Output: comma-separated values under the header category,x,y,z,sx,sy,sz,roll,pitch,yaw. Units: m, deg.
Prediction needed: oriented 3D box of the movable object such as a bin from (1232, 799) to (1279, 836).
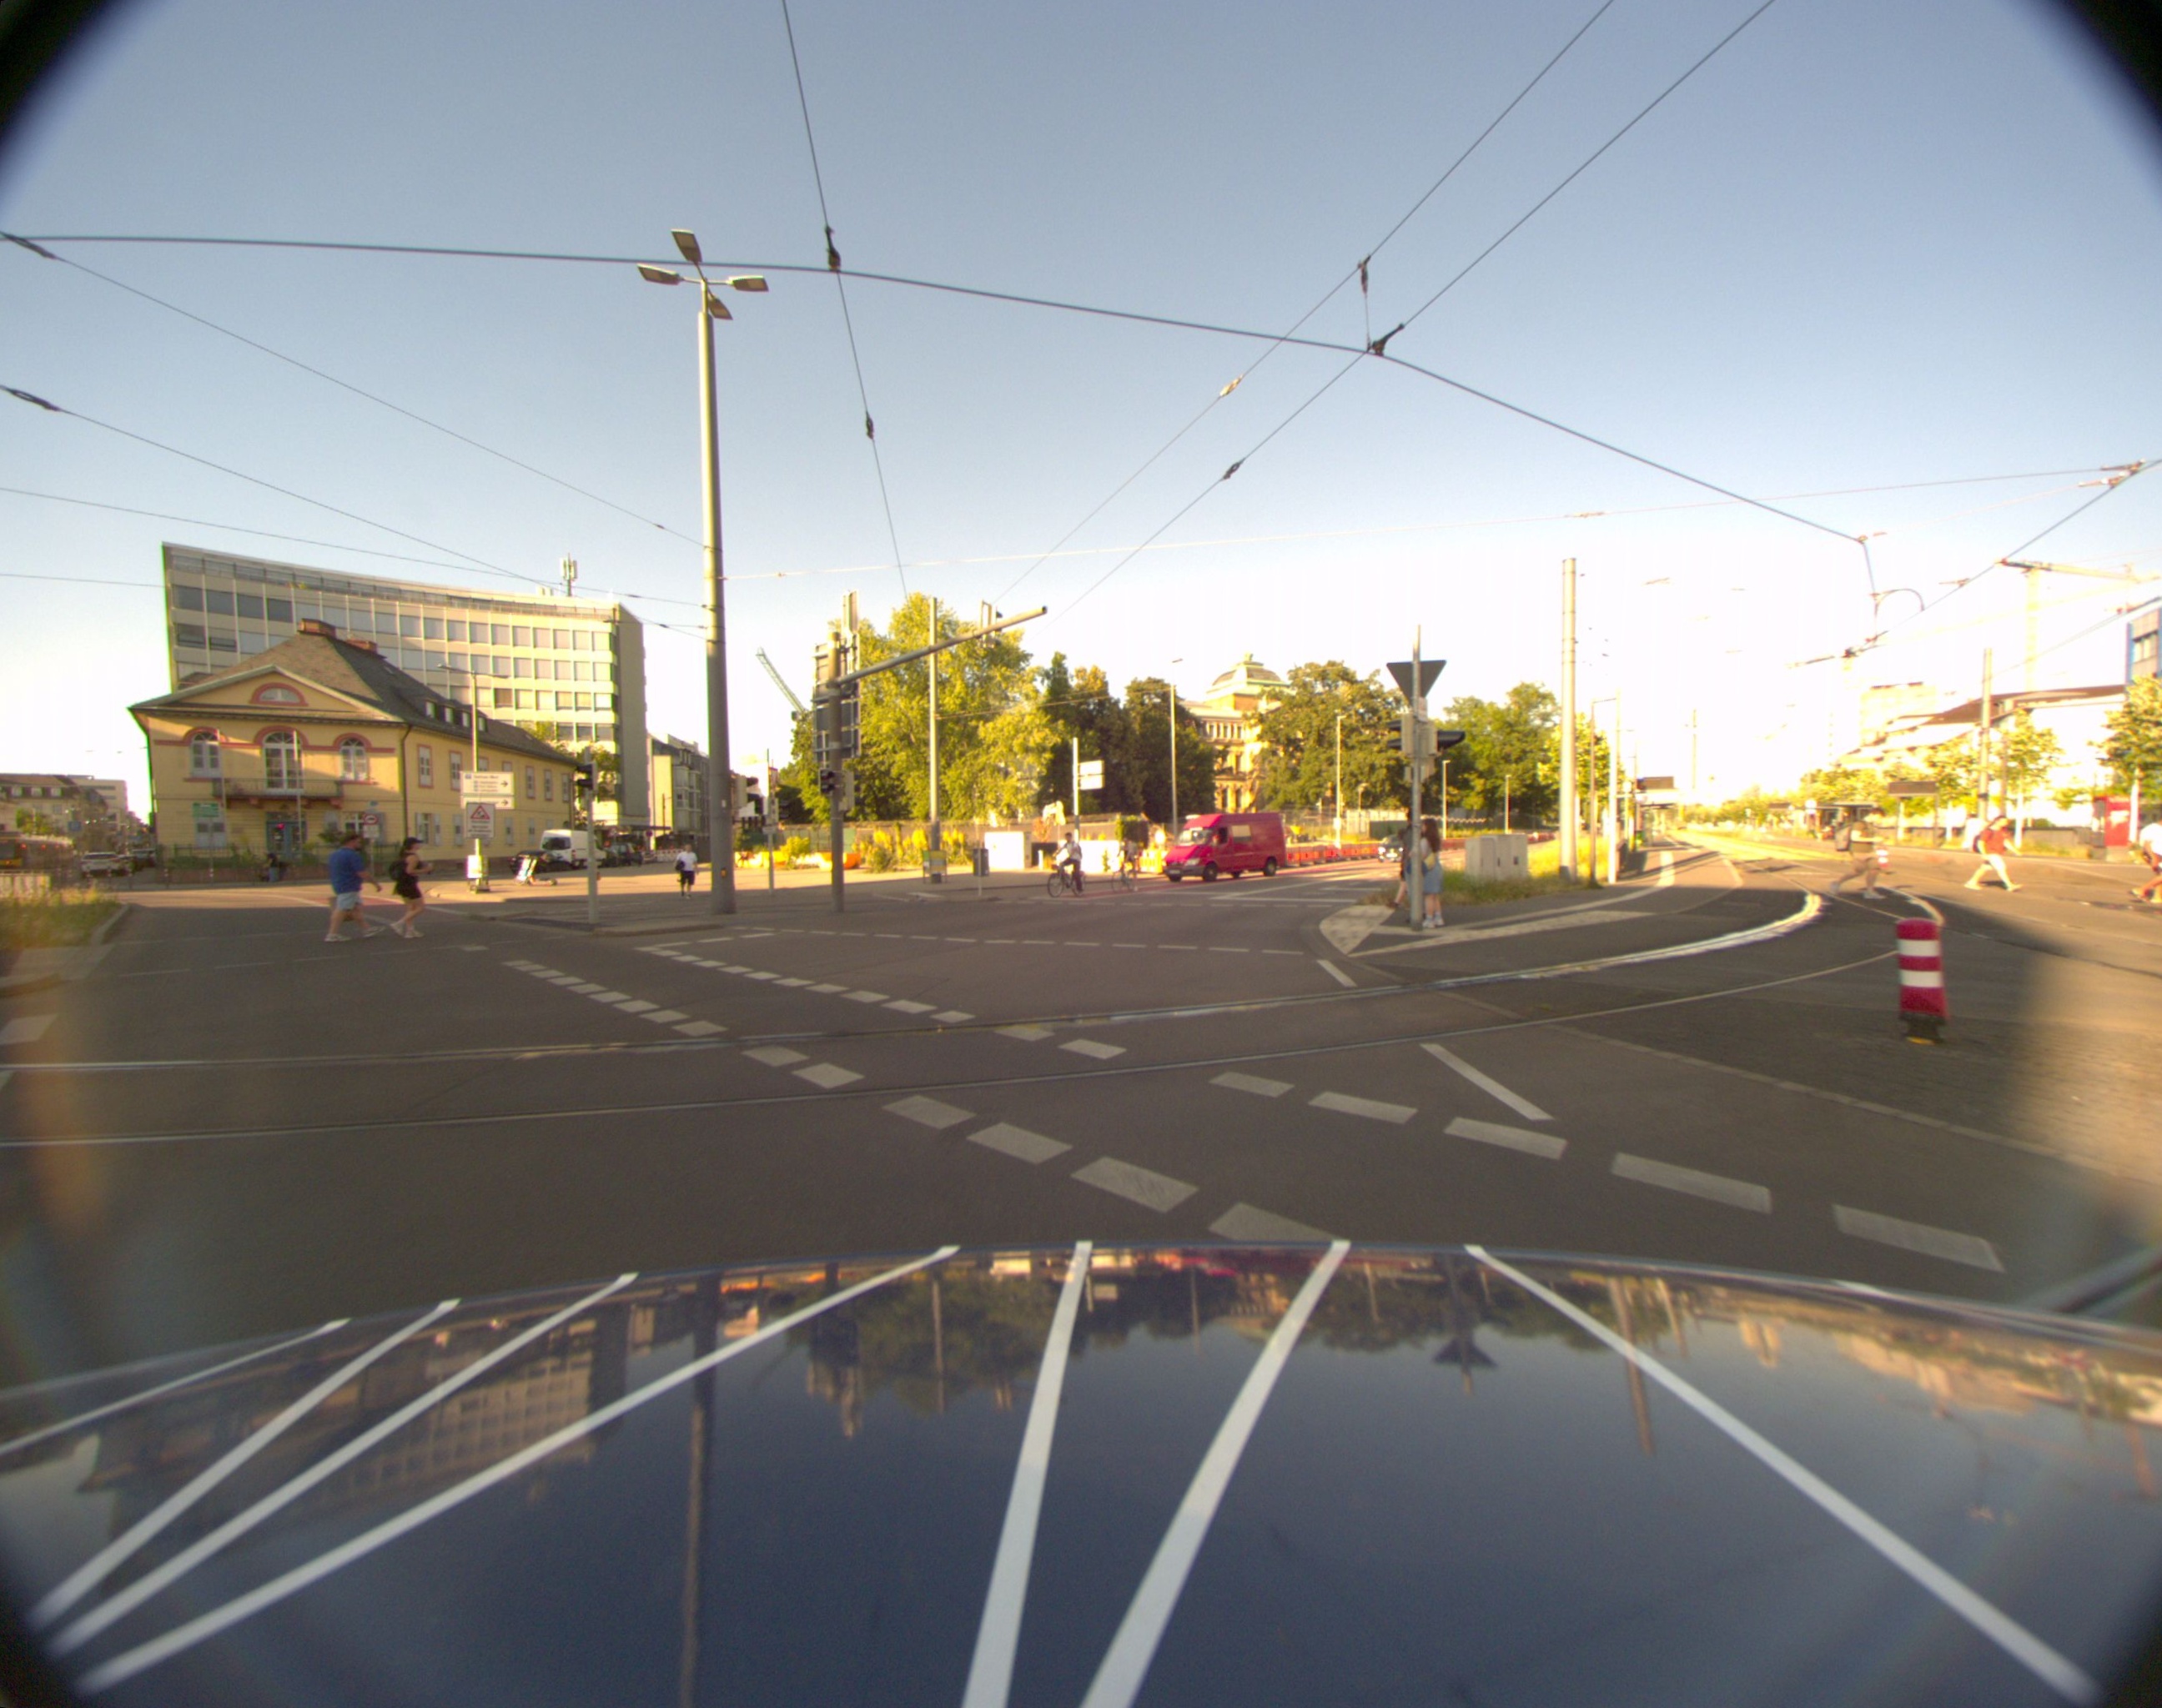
category,x,y,z,sx,sy,sz,roll,pitch,yaw
movable object such as a bin,16.517,-3.420,71.732,1.994,3.311,5.384,-1,2,41

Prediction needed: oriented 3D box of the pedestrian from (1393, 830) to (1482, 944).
category,x,y,z,sx,sy,sz,roll,pitch,yaw
pedestrian,5.401,0.472,11.532,0.900,1.631,0.787,-3,2,-15

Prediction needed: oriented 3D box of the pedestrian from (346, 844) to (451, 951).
category,x,y,z,sx,sy,sz,roll,pitch,yaw
pedestrian,-11.382,0.694,12.715,0.697,1.673,1.041,-2,2,-1

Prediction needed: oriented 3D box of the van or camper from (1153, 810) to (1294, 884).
category,x,y,z,sx,sy,sz,roll,pitch,yaw
van or camper,5.562,-0.335,28.987,5.924,2.515,1.994,-4,2,-42

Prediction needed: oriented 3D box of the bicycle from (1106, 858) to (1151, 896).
category,x,y,z,sx,sy,sz,roll,pitch,yaw
bicycle,1.432,0.670,22.659,0.541,0.995,1.696,-1,2,32

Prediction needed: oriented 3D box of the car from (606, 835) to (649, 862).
category,x,y,z,sx,sy,sz,roll,pitch,yaw
car,-35.650,-0.441,59.833,1.714,1.969,3.757,-3,2,-12

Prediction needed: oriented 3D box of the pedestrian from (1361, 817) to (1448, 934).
category,x,y,z,sx,sy,sz,roll,pitch,yaw
pedestrian,5.209,0.343,12.277,0.900,1.790,0.787,-2,-1,-16

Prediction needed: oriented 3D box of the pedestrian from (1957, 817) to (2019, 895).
category,x,y,z,sx,sy,sz,roll,pitch,yaw
pedestrian,20.257,0.044,16.984,0.786,1.689,0.620,-1,2,39

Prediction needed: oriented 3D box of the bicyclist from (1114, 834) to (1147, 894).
category,x,y,z,sx,sy,sz,roll,pitch,yaw
bicyclist,1.486,0.292,22.692,0.614,1.736,0.793,-1,2,32

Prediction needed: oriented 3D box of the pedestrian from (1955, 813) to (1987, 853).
category,x,y,z,sx,sy,sz,roll,pitch,yaw
pedestrian,37.900,-0.902,32.349,0.786,1.663,0.620,-1,2,39

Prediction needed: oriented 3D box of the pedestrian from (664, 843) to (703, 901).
category,x,y,z,sx,sy,sz,roll,pitch,yaw
pedestrian,-12.619,0.565,24.127,0.762,1.752,1.005,-4,3,-42

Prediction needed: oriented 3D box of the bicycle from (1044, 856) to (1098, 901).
category,x,y,z,sx,sy,sz,roll,pitch,yaw
bicycle,-0.258,0.655,20.881,0.541,1.095,1.811,-1,2,32

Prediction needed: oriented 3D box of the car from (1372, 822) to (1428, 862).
category,x,y,z,sx,sy,sz,roll,pitch,yaw
car,17.741,-0.683,42.130,1.994,2.002,4.007,-1,2,35

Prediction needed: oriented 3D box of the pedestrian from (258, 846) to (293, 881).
category,x,y,z,sx,sy,sz,roll,pitch,yaw
pedestrian,-37.886,0.441,35.736,0.685,1.633,0.818,-2,2,11

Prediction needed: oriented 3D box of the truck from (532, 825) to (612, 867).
category,x,y,z,sx,sy,sz,roll,pitch,yaw
truck,-33.353,-0.562,49.991,2.301,2.534,5.632,-3,2,-12

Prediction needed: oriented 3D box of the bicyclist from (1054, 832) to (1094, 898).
category,x,y,z,sx,sy,sz,roll,pitch,yaw
bicyclist,-0.178,0.302,21.048,0.541,1.758,1.062,-1,2,32

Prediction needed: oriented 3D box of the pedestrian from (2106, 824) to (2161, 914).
category,x,y,z,sx,sy,sz,roll,pitch,yaw
pedestrian,19.203,0.276,13.581,0.787,1.539,0.620,5,0,4

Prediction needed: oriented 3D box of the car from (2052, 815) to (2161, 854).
category,x,y,z,sx,sy,sz,roll,pitch,yaw
car,44.036,-0.865,32.625,1.882,1.499,3.950,-1,2,36

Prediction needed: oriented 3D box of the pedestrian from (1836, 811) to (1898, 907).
category,x,y,z,sx,sy,sz,roll,pitch,yaw
pedestrian,15.609,0.090,15.104,0.786,1.853,0.620,-1,2,39

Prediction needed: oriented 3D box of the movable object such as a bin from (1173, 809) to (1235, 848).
category,x,y,z,sx,sy,sz,roll,pitch,yaw
movable object such as a bin,9.036,-1.924,55.456,1.994,2.669,5.022,-1,2,41

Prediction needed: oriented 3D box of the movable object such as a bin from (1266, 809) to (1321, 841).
category,x,y,z,sx,sy,sz,roll,pitch,yaw
movable object such as a bin,19.457,-2.682,69.367,5.877,2.800,1.994,-4,2,-43

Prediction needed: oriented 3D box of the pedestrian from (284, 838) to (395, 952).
category,x,y,z,sx,sy,sz,roll,pitch,yaw
pedestrian,-12.269,0.638,12.611,0.697,1.783,1.041,-2,2,-1

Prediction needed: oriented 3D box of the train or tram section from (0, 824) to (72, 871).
category,x,y,z,sx,sy,sz,roll,pitch,yaw
train or tram section,-94.061,-0.637,67.893,13.320,3.813,3.722,1,3,40

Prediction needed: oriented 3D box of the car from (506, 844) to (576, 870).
category,x,y,z,sx,sy,sz,roll,pitch,yaw
car,-31.597,0.163,44.585,1.714,1.357,4.190,-3,1,-12

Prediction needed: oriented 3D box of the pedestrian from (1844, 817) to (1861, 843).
category,x,y,z,sx,sy,sz,roll,pitch,yaw
pedestrian,51.428,-1.615,50.626,0.658,1.683,0.773,-1,2,35
